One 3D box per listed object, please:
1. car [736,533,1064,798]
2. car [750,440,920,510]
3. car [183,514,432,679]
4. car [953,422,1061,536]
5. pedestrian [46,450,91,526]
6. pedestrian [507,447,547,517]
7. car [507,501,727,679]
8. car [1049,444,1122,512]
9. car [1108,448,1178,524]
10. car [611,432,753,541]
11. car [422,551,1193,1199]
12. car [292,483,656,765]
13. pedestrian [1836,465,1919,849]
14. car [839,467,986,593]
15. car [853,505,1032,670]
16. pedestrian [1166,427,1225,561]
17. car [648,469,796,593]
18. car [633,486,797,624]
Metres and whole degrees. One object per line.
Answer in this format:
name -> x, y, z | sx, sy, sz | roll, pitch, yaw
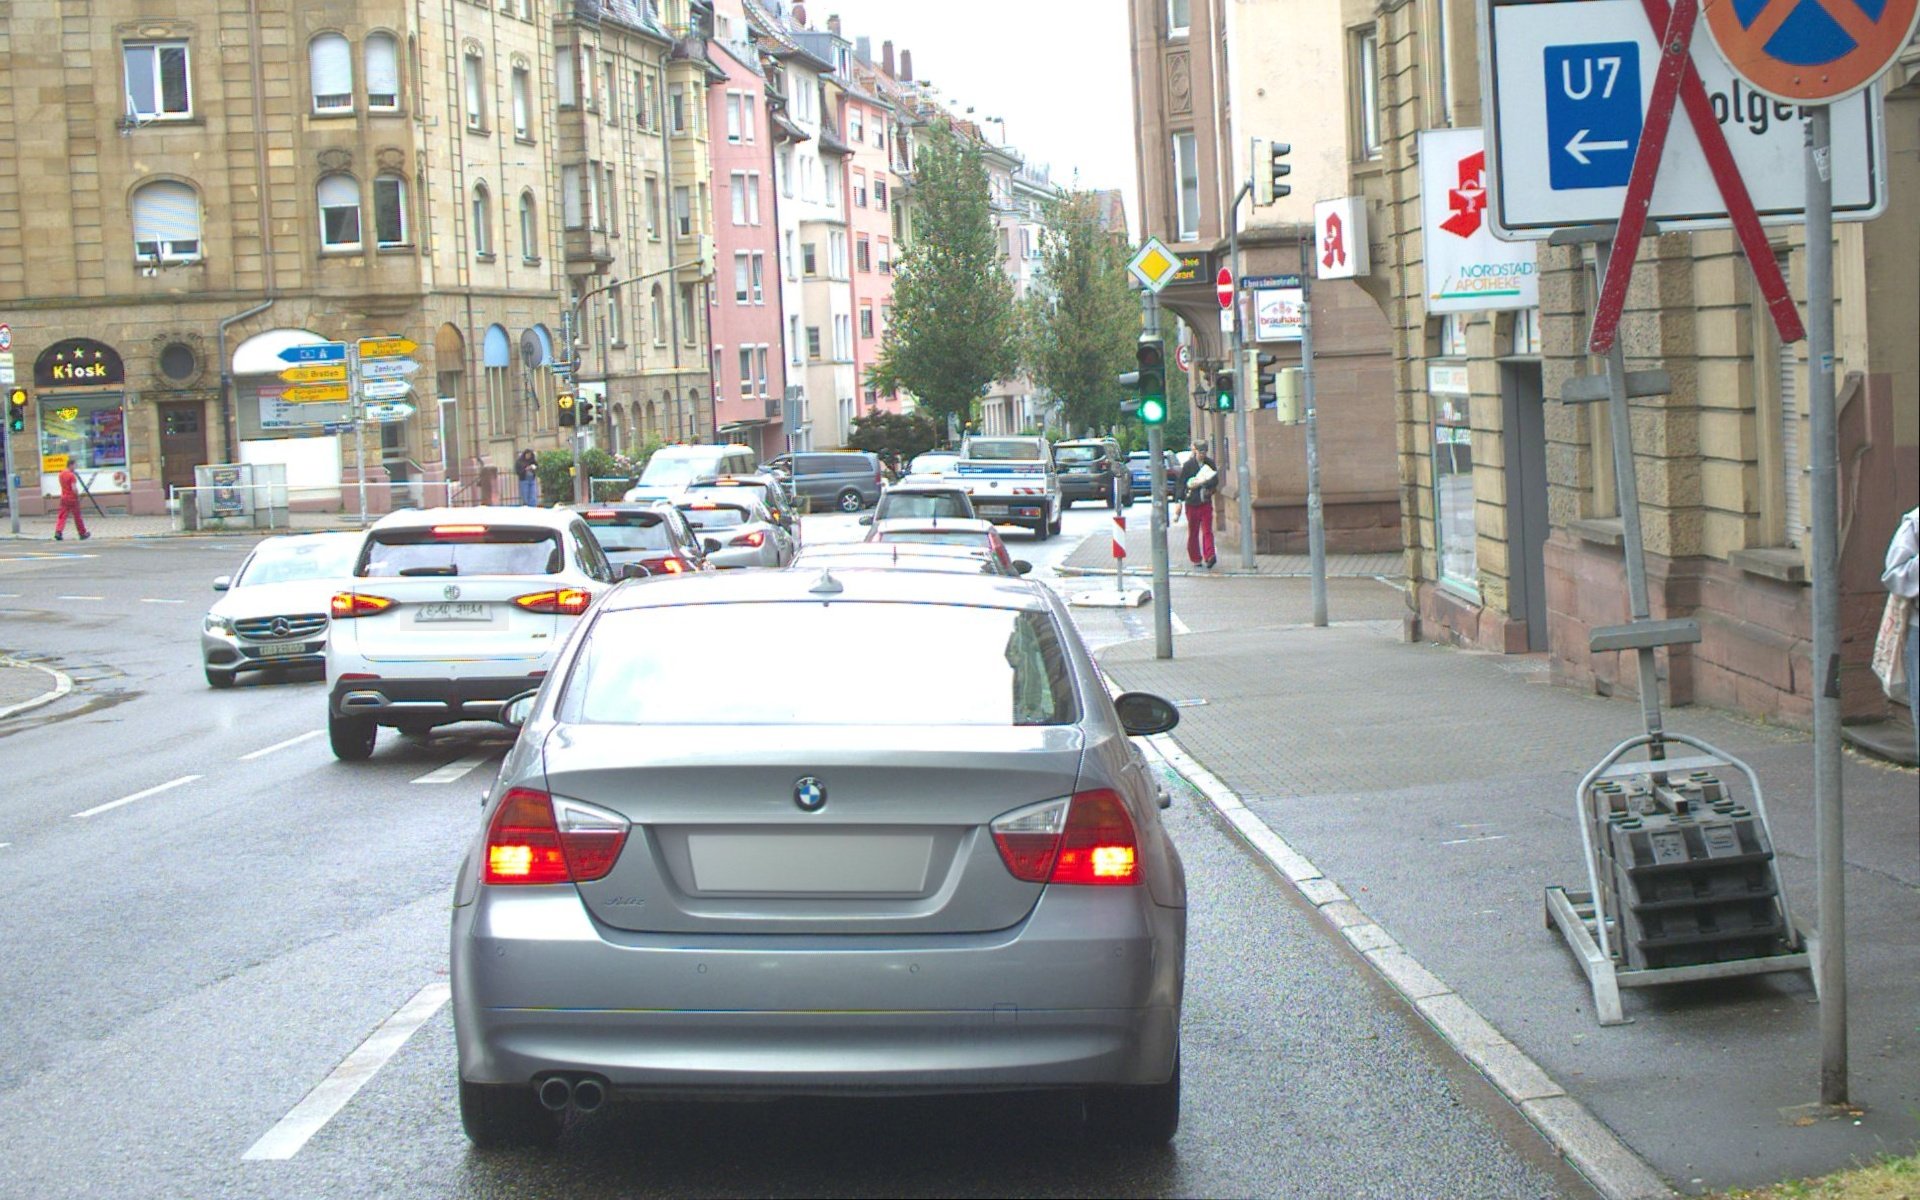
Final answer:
car -> -0.286, 0.315, 20.509 | 1.759, 1.378, 4.000 | 0, 2, 1
car -> -3.863, -3.893, 107.240 | 5.176, 2.007, 2.699 | 1, 1, 0
car -> -6.867, -0.093, 36.592 | 1.737, 1.521, 4.472 | -4, 1, -1
car -> 0.869, -2.273, 65.446 | 1.993, 2.099, 4.000 | 0, 1, 0
pedestrian -> -18.529, -2.328, 71.449 | 0.537, 1.572, 0.719 | -1, 1, 18
pedestrian -> -9.826, -2.683, 78.016 | 0.732, 1.572, 0.528 | -1, 2, 9
car -> -3.431, -0.156, 35.051 | 1.759, 1.702, 4.000 | 0, 2, 1
car -> 3.060, -2.962, 84.144 | 1.725, 1.547, 4.000 | 1, 1, 2
car -> 5.129, -3.165, 95.863 | 1.725, 2.007, 3.999 | 1, 1, 6
car -> -5.176, -2.130, 64.488 | 1.762, 1.919, 4.323 | -1, 2, 7
car -> -0.288, 0.593, 9.086 | 1.623, 1.378, 3.615 | 0, 2, 1
car -> -3.196, 0.082, 23.365 | 1.868, 1.620, 4.001 | -2, 3, 0
pedestrian -> 4.027, 0.200, 13.949 | 0.631, 1.503, 0.693 | -6, 1, 0
car -> -0.582, -0.949, 45.282 | 1.759, 1.562, 4.000 | -1, 2, 2
car -> -0.116, -0.166, 32.662 | 1.595, 1.459, 4.000 | 0, 2, 1
pedestrian -> 3.400, -1.527, 49.685 | 0.742, 1.903, 0.659 | -2, 2, -1
car -> -3.382, -1.010, 49.417 | 1.759, 1.702, 4.000 | 0, 2, 1
car -> -3.133, -0.613, 44.652 | 1.759, 1.702, 4.000 | 0, 2, 1
